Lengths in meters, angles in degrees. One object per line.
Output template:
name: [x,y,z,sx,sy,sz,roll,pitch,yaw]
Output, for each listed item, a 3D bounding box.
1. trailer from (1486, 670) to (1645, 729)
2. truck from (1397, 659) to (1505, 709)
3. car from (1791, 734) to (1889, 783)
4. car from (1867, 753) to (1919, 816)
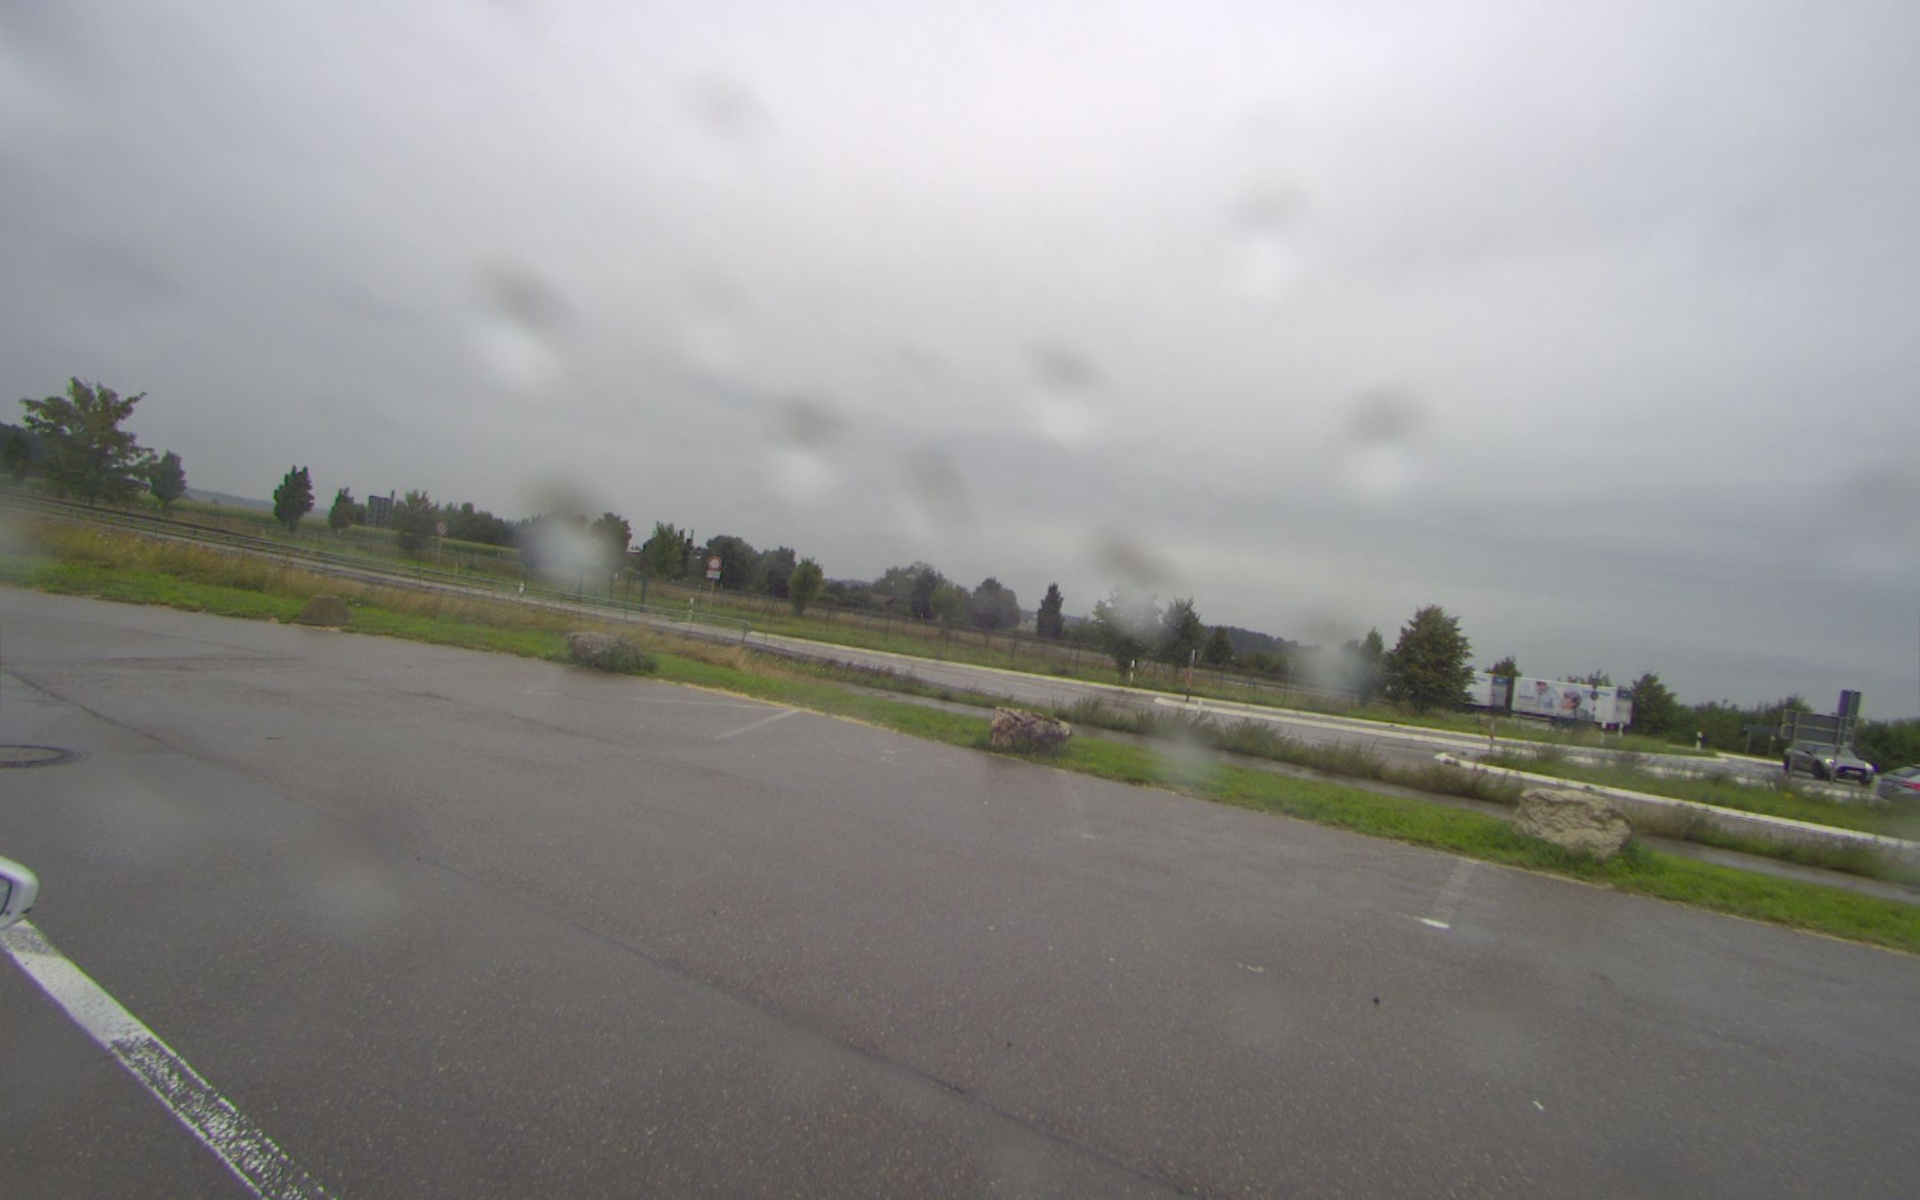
trailer: [45.332,7.394,75.770,2.186,2.936,10.054,9,-1,-33]
truck: [40.531,6.896,83.291,2.163,2.942,7.723,9,-1,-33]
car: [36.735,6.589,42.129,1.725,1.341,4.305,6,0,24]
car: [29.160,5.612,28.492,4.578,1.500,1.998,8,1,24]
